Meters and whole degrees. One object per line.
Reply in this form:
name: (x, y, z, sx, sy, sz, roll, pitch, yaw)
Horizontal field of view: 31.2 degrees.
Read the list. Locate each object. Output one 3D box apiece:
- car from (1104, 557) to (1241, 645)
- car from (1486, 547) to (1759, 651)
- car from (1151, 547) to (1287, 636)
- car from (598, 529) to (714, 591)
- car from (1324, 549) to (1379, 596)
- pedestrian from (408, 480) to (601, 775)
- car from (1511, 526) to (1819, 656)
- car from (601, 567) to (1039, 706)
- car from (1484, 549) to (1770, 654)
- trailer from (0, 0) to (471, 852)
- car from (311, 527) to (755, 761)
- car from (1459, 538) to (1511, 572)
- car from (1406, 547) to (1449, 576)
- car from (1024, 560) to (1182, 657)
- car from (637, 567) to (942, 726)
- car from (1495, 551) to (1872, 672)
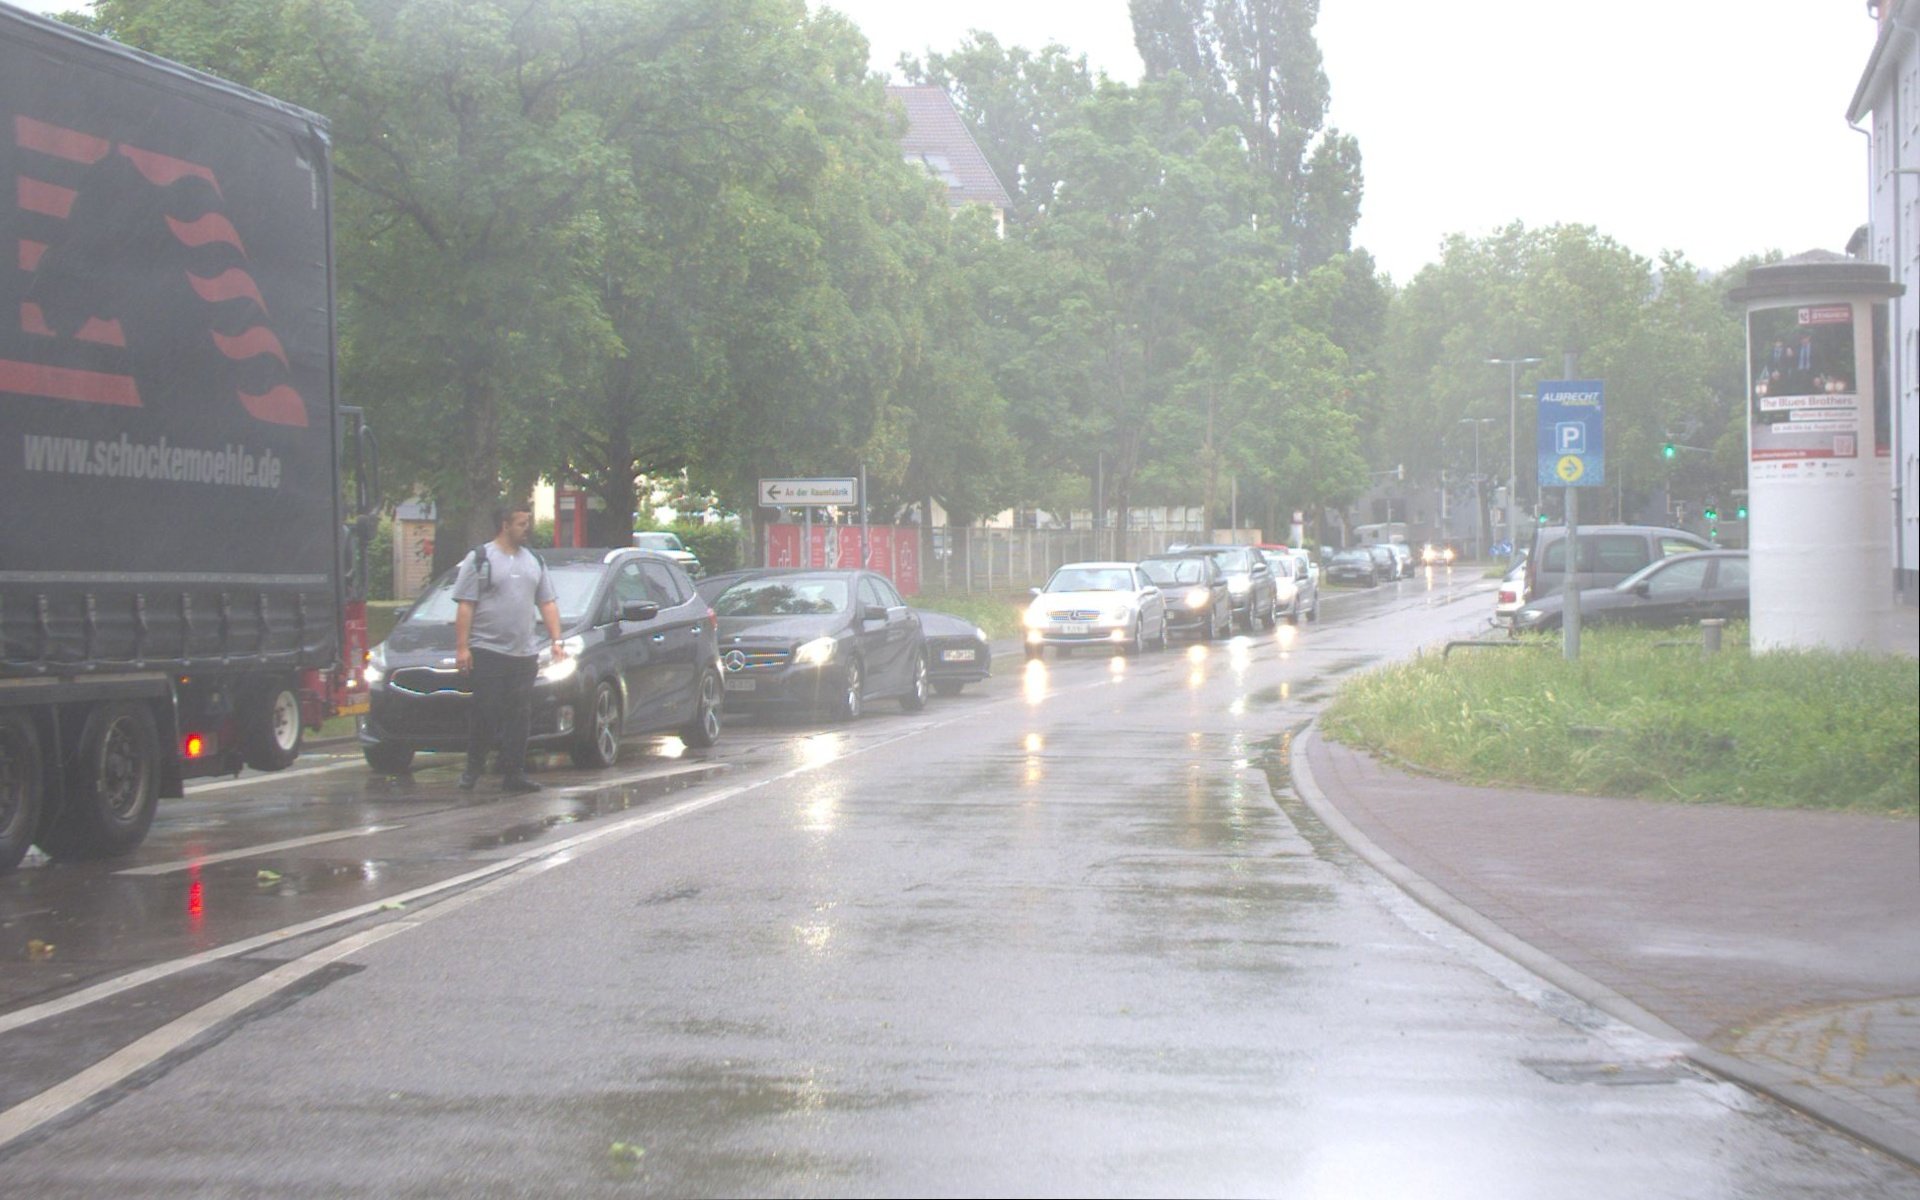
car: (3.732, -0.004, 59.649, 1.780, 1.415, 4.263, 0, 1, 12)
car: (10.549, -0.028, 54.855, 4.183, 1.566, 1.889, 1, 1, 11)
car: (5.041, -0.175, 66.363, 1.915, 1.634, 4.819, 1, 1, 13)
car: (-8.104, -1.045, 91.363, 1.844, 1.567, 4.001, 1, 0, -24)
car: (14.009, -1.006, 123.165, 1.776, 1.524, 4.000, 1, 2, 5)
pedestrian: (-2.931, 0.159, 22.095, 0.868, 1.837, 0.992, -1, 1, -33)
car: (10.124, -0.131, 49.668, 4.233, 1.799, 1.944, -1, 0, 8)
car: (-1.631, 0.363, 38.645, 4.925, 1.449, 2.081, 0, 1, 44)
car: (10.107, 0.011, 52.279, 4.191, 1.563, 1.888, 0, 0, 10)
trailer: (-6.251, -0.865, 14.260, 3.444, 4.035, 15.043, 0, 1, 12)
car: (-3.122, 0.343, 26.279, 1.868, 1.614, 4.799, 0, -1, 13)
car: (31.041, -2.657, 203.373, 1.993, 2.007, 4.001, 0, 1, -8)
car: (27.995, -2.311, 205.934, 1.740, 1.683, 4.001, 1, 1, -4)
car: (2.234, 0.103, 52.563, 1.775, 1.398, 4.828, 1, 1, 10)
car: (-1.528, 0.392, 32.537, 1.727, 1.356, 4.335, -1, 1, 13)
car: (9.089, 0.139, 43.304, 4.535, 1.465, 1.982, 0, 0, 12)
